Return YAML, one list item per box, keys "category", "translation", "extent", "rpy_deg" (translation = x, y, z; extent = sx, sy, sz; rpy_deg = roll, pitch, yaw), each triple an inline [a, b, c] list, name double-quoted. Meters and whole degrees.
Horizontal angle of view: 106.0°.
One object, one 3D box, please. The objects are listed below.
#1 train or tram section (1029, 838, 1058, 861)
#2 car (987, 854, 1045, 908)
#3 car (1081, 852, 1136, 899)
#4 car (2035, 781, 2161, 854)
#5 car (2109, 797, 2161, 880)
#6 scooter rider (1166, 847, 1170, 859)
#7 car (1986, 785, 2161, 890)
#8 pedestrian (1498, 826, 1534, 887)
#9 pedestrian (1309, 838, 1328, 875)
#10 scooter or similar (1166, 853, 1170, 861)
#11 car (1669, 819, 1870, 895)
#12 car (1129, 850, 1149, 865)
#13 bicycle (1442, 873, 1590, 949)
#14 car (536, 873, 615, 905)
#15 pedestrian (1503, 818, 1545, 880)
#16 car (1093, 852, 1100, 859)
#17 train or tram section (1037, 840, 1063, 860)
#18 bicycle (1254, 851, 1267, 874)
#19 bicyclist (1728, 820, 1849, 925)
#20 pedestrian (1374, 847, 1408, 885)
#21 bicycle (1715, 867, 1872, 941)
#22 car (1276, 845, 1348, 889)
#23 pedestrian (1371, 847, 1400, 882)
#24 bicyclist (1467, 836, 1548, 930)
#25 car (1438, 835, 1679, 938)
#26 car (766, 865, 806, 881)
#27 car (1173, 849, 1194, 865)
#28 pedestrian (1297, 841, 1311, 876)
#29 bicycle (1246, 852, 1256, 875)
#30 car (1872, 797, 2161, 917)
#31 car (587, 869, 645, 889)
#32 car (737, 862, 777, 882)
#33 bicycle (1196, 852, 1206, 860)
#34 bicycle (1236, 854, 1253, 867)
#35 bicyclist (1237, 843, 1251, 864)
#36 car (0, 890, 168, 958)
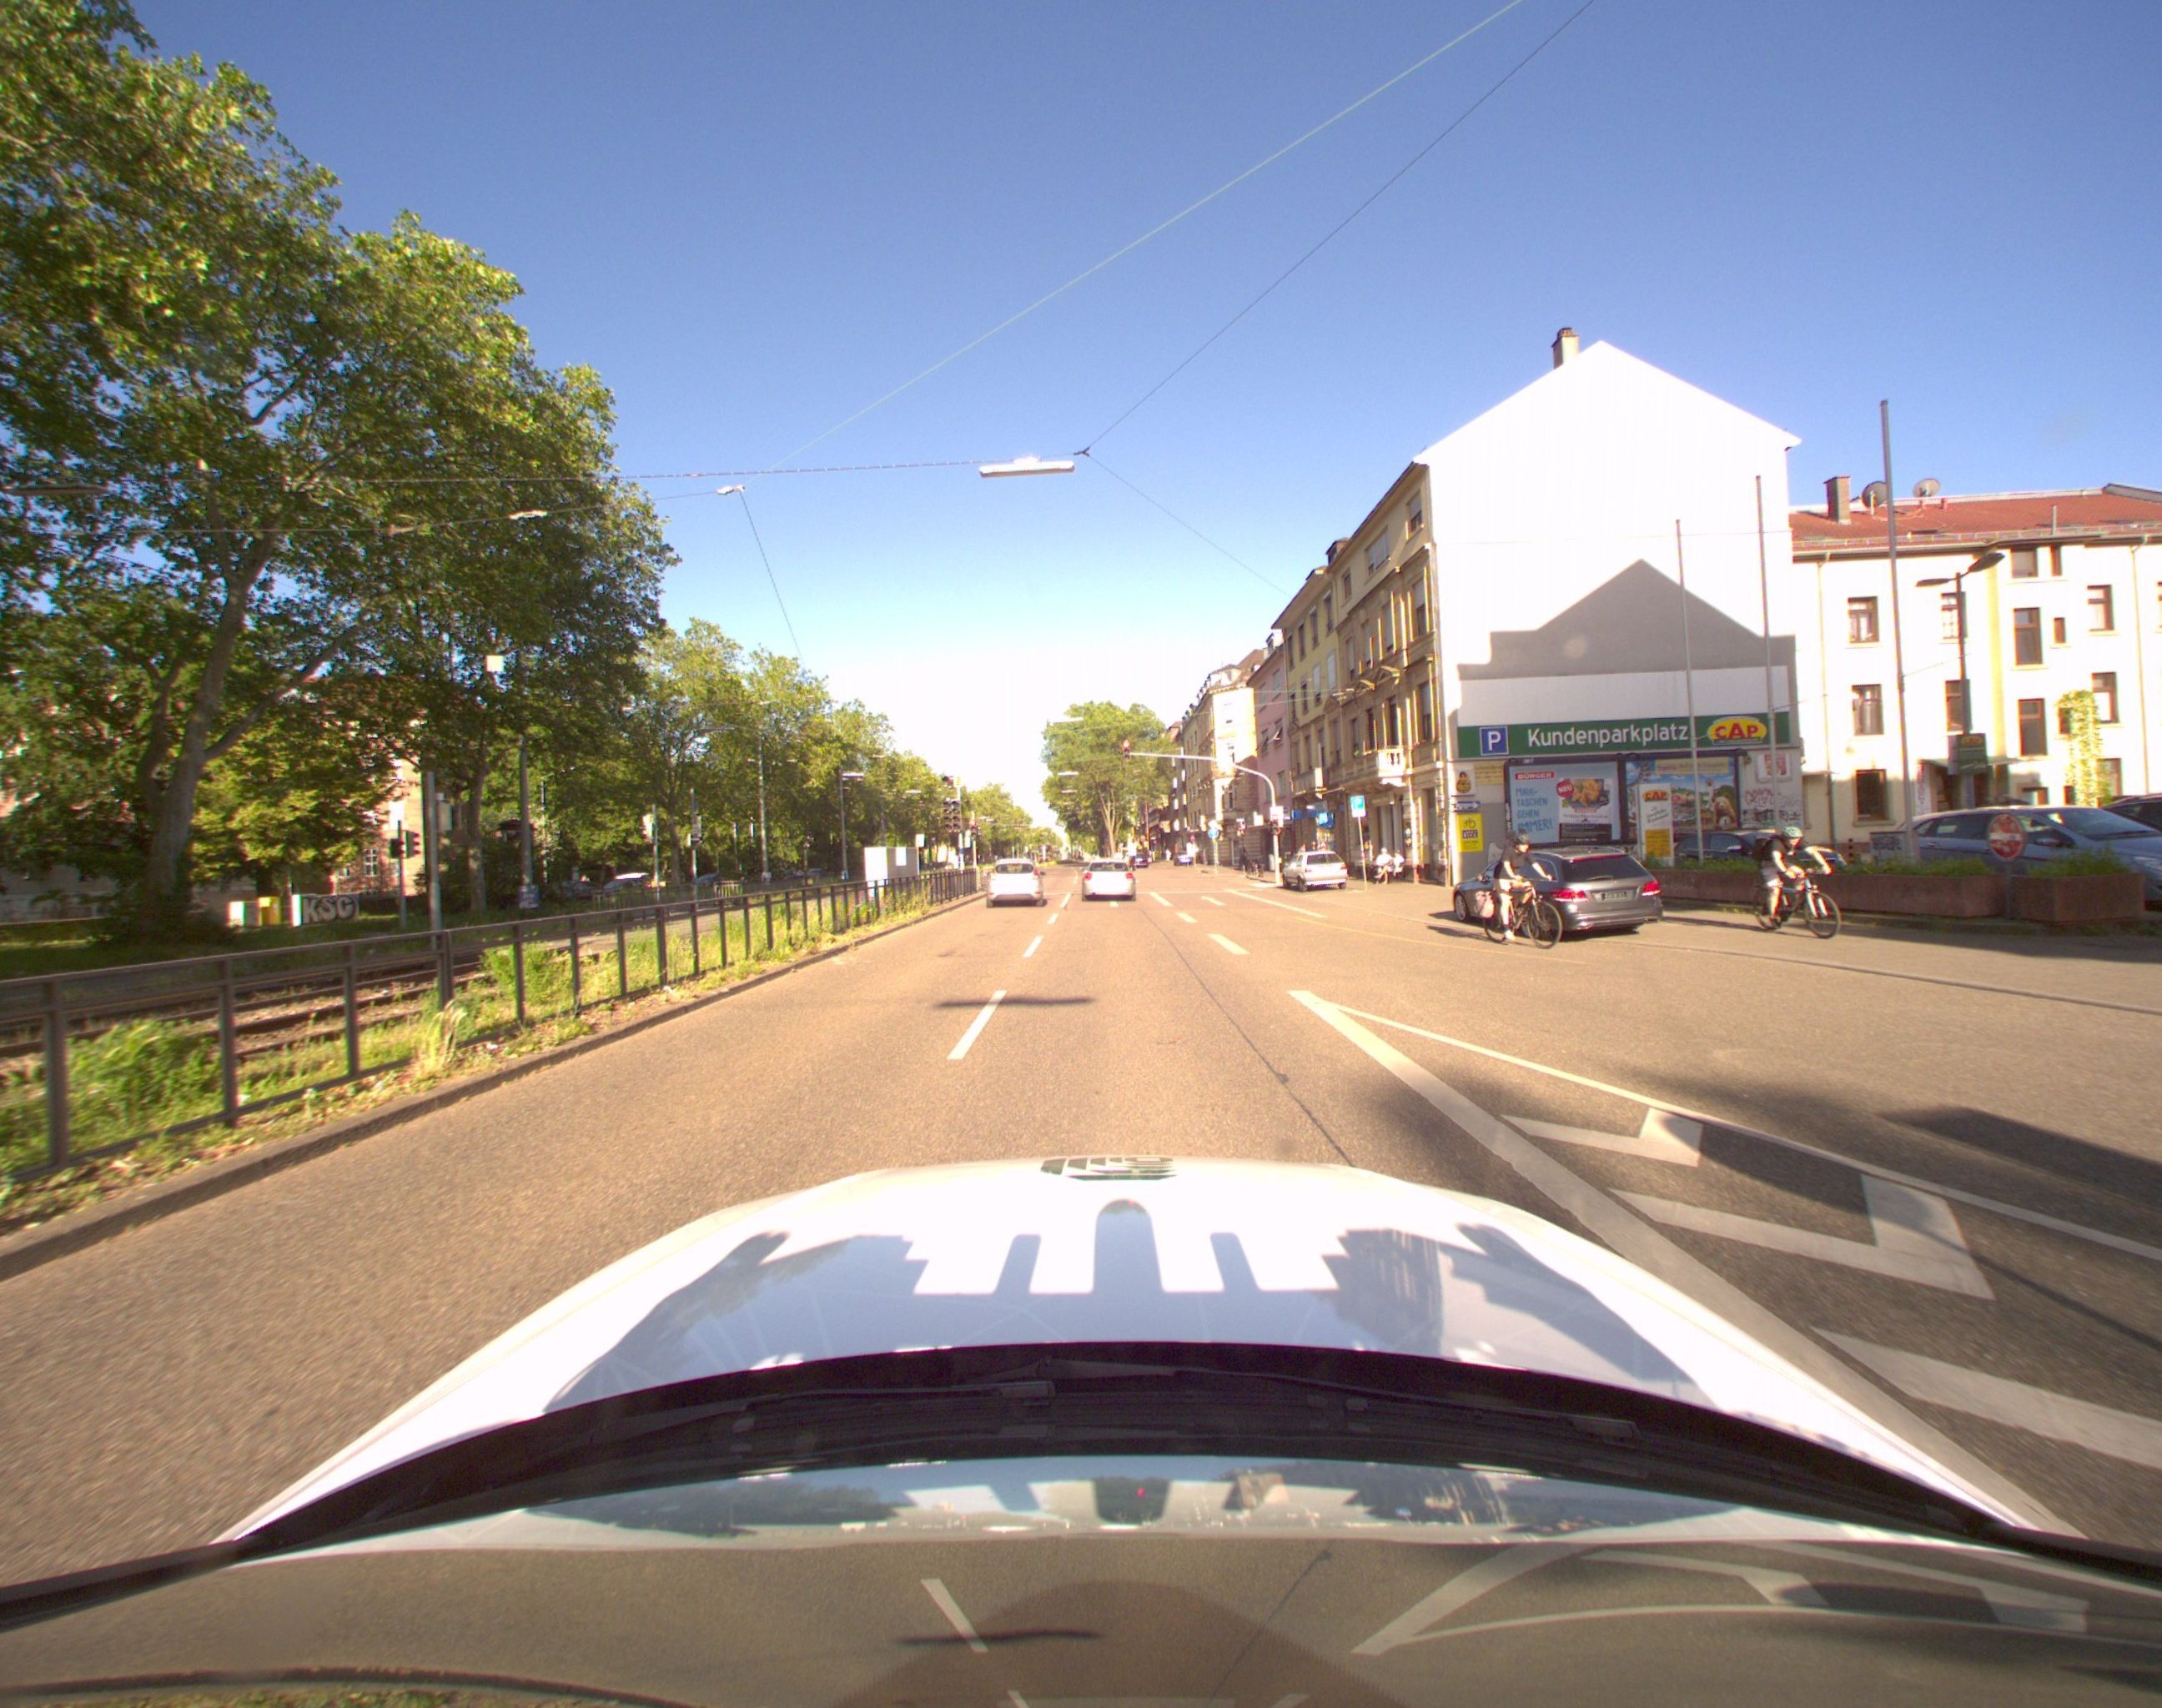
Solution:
- category: "train or tram section"
  translation: [-6.874, -0.896, 151.119]
  extent: [3.954, 3.865, 17.495]
  rpy_deg: [-2, 0, 2]
- category: "car"
  translation: [-1.998, 0.775, 25.501]
  extent: [1.606, 1.467, 3.885]
  rpy_deg: [-2, 0, -4]
- category: "car"
  translation: [0.936, 0.670, 27.947]
  extent: [1.734, 1.467, 4.001]
  rpy_deg: [-1, 0, 1]
- category: "car"
  translation: [25.654, -0.869, 18.972]
  extent: [1.748, 1.666, 4.384]
  rpy_deg: [-3, 0, 1]
- category: "car"
  translation: [20.755, -0.317, 13.846]
  extent: [1.537, 1.544, 3.937]
  rpy_deg: [-3, 0, -1]
- category: "scooter rider"
  translation: [11.276, -0.091, 105.279]
  extent: [0.463, 1.505, 0.811]
  rpy_deg: [-2, -2, 2]
- category: "car"
  translation: [18.207, -0.295, 13.561]
  extent: [1.740, 1.693, 3.998]
  rpy_deg: [-2, 0, -1]
- category: "pedestrian"
  translation: [12.885, 0.061, 24.138]
  extent: [0.762, 1.755, 0.510]
  rpy_deg: [-3, 0, -19]
- category: "pedestrian"
  translation: [11.821, 0.125, 40.588]
  extent: [0.670, 1.806, 0.531]
  rpy_deg: [-5, 0, 1]
- category: "scooter or similar"
  translation: [11.256, 0.432, 105.284]
  extent: [0.336, 0.988, 1.286]
  rpy_deg: [-2, 1, 4]
- category: "car"
  translation: [15.306, 0.056, 18.337]
  extent: [1.554, 1.485, 3.392]
  rpy_deg: [-2, 0, -2]
- category: "car"
  translation: [5.567, 0.312, 78.624]
  extent: [1.730, 1.433, 3.677]
  rpy_deg: [-1, 0, 0]
- category: "bicycle"
  translation: [6.976, 0.880, 13.130]
  extent: [0.763, 1.102, 1.930]
  rpy_deg: [-3, 0, -42]
- category: "car"
  translation: [-27.821, 1.910, 44.973]
  extent: [1.664, 1.509, 4.145]
  rpy_deg: [-2, 0, 0]
- category: "pedestrian"
  translation: [13.498, -0.139, 24.849]
  extent: [0.763, 1.841, 0.743]
  rpy_deg: [-3, 0, -20]
- category: "car"
  translation: [4.664, 0.492, 242.553]
  extent: [1.986, 2.013, 4.002]
  rpy_deg: [-3, 0, 2]
- category: "train or tram section"
  translation: [-6.334, -0.790, 168.639]
  extent: [3.990, 3.865, 17.495]
  rpy_deg: [-2, 0, 2]
- category: "bicycle"
  translation: [9.486, 0.460, 43.054]
  extent: [0.446, 1.159, 1.762]
  rpy_deg: [-2, 0, 7]
- category: "bicyclist"
  translation: [10.622, 0.263, 12.275]
  extent: [0.674, 1.446, 1.182]
  rpy_deg: [-6, 0, 2]
- category: "pedestrian"
  translation: [11.265, 0.428, 29.597]
  extent: [0.899, 1.281, 0.655]
  rpy_deg: [-4, 0, -4]
- category: "bicycle"
  translation: [10.657, 0.705, 12.279]
  extent: [0.647, 0.920, 1.919]
  rpy_deg: [-6, 0, 2]
- category: "car"
  translation: [8.568, 0.439, 30.532]
  extent: [1.557, 1.415, 4.005]
  rpy_deg: [-6, 0, 1]
- category: "pedestrian"
  translation: [11.305, 0.386, 30.277]
  extent: [0.795, 1.281, 0.608]
  rpy_deg: [-2, 0, -1]
- category: "bicyclist"
  translation: [6.927, 0.453, 13.235]
  extent: [0.751, 1.462, 0.940]
  rpy_deg: [-1, 0, -42]
- category: "car"
  translation: [8.679, 0.506, 15.412]
  extent: [1.826, 1.487, 4.736]
  rpy_deg: [-5, 0, 2]
- category: "car"
  translation: [-27.196, 1.734, 75.283]
  extent: [1.930, 1.349, 4.848]
  rpy_deg: [-2, -1, 0]
- category: "car"
  translation: [10.565, 0.306, 84.137]
  extent: [1.729, 1.519, 3.637]
  rpy_deg: [-1, 0, 1]
- category: "pedestrian"
  translation: [11.141, 0.212, 40.638]
  extent: [0.547, 1.708, 0.389]
  rpy_deg: [-3, 0, 4]
- category: "bicycle"
  translation: [9.105, 0.503, 43.672]
  extent: [0.411, 1.140, 1.813]
  rpy_deg: [-2, 0, 8]
- category: "car"
  translation: [15.559, 0.004, 13.072]
  extent: [1.740, 1.644, 3.997]
  rpy_deg: [-2, 0, -2]
- category: "car"
  translation: [-38.404, 2.073, 67.255]
  extent: [3.968, 1.494, 1.395]
  rpy_deg: [-2, 0, 5]
- category: "car"
  translation: [-27.412, 1.525, 69.075]
  extent: [1.664, 1.509, 4.145]
  rpy_deg: [-2, 0, 0]
- category: "bicycle"
  translation: [12.417, 0.242, 84.572]
  extent: [0.752, 0.770, 1.945]
  rpy_deg: [-2, 0, 0]
- category: "bicycle"
  translation: [11.950, 0.491, 59.489]
  extent: [0.646, 0.903, 1.346]
  rpy_deg: [-2, 0, 43]
- category: "bicyclist"
  translation: [11.905, -0.025, 59.488]
  extent: [0.541, 1.502, 0.967]
  rpy_deg: [-2, 0, 43]
- category: "car"
  translation: [-27.802, 1.862, 21.938]
  extent: [1.664, 1.509, 4.145]
  rpy_deg: [-2, 0, 0]
